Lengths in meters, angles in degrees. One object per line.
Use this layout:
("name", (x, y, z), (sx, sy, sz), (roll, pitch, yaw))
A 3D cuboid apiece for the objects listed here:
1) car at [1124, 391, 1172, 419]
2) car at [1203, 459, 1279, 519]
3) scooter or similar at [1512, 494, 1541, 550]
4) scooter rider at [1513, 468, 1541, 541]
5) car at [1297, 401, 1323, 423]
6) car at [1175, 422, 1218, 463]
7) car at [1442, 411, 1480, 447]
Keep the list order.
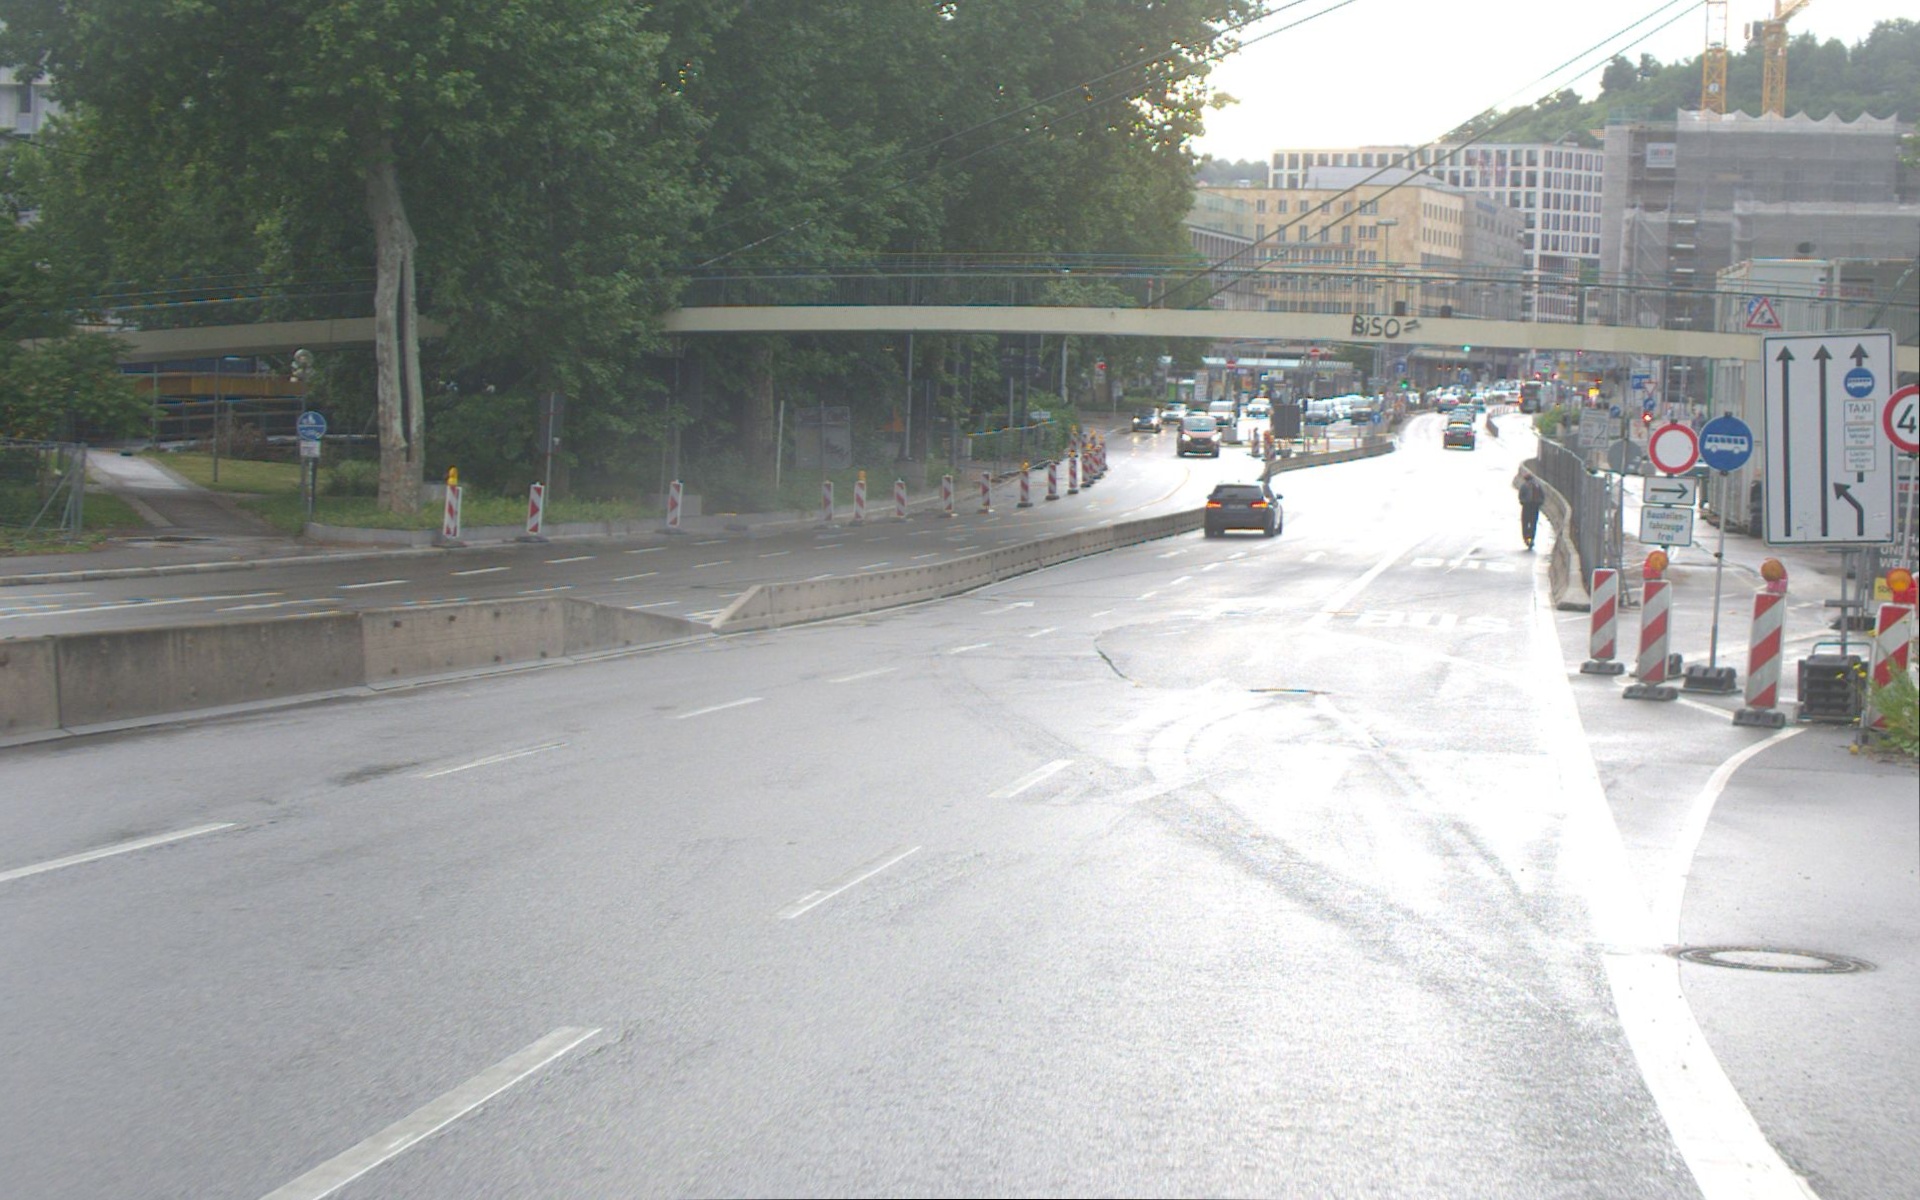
("car", (12.261, -12.728, 224.280), (2.030, 1.647, 4.321), (0, 4, -13))
("car", (7.383, -2.902, 90.032), (1.902, 1.522, 4.177), (0, 2, 6))
("scooter or similar", (14.242, -1.960, 86.405), (0.597, 1.314, 1.667), (3, 4, 11))
("scooter rider", (14.245, -2.405, 86.372), (0.597, 1.779, 0.997), (3, 4, 11))
("car", (25.672, -13.788, 251.926), (1.902, 1.522, 4.177), (0, 2, 6))
("car", (12.035, -7.999, 174.959), (2.031, 1.929, 5.044), (-4, 2, 4))
("car", (28.662, -9.768, 196.614), (1.994, 2.007, 3.999), (0, 2, 10))
